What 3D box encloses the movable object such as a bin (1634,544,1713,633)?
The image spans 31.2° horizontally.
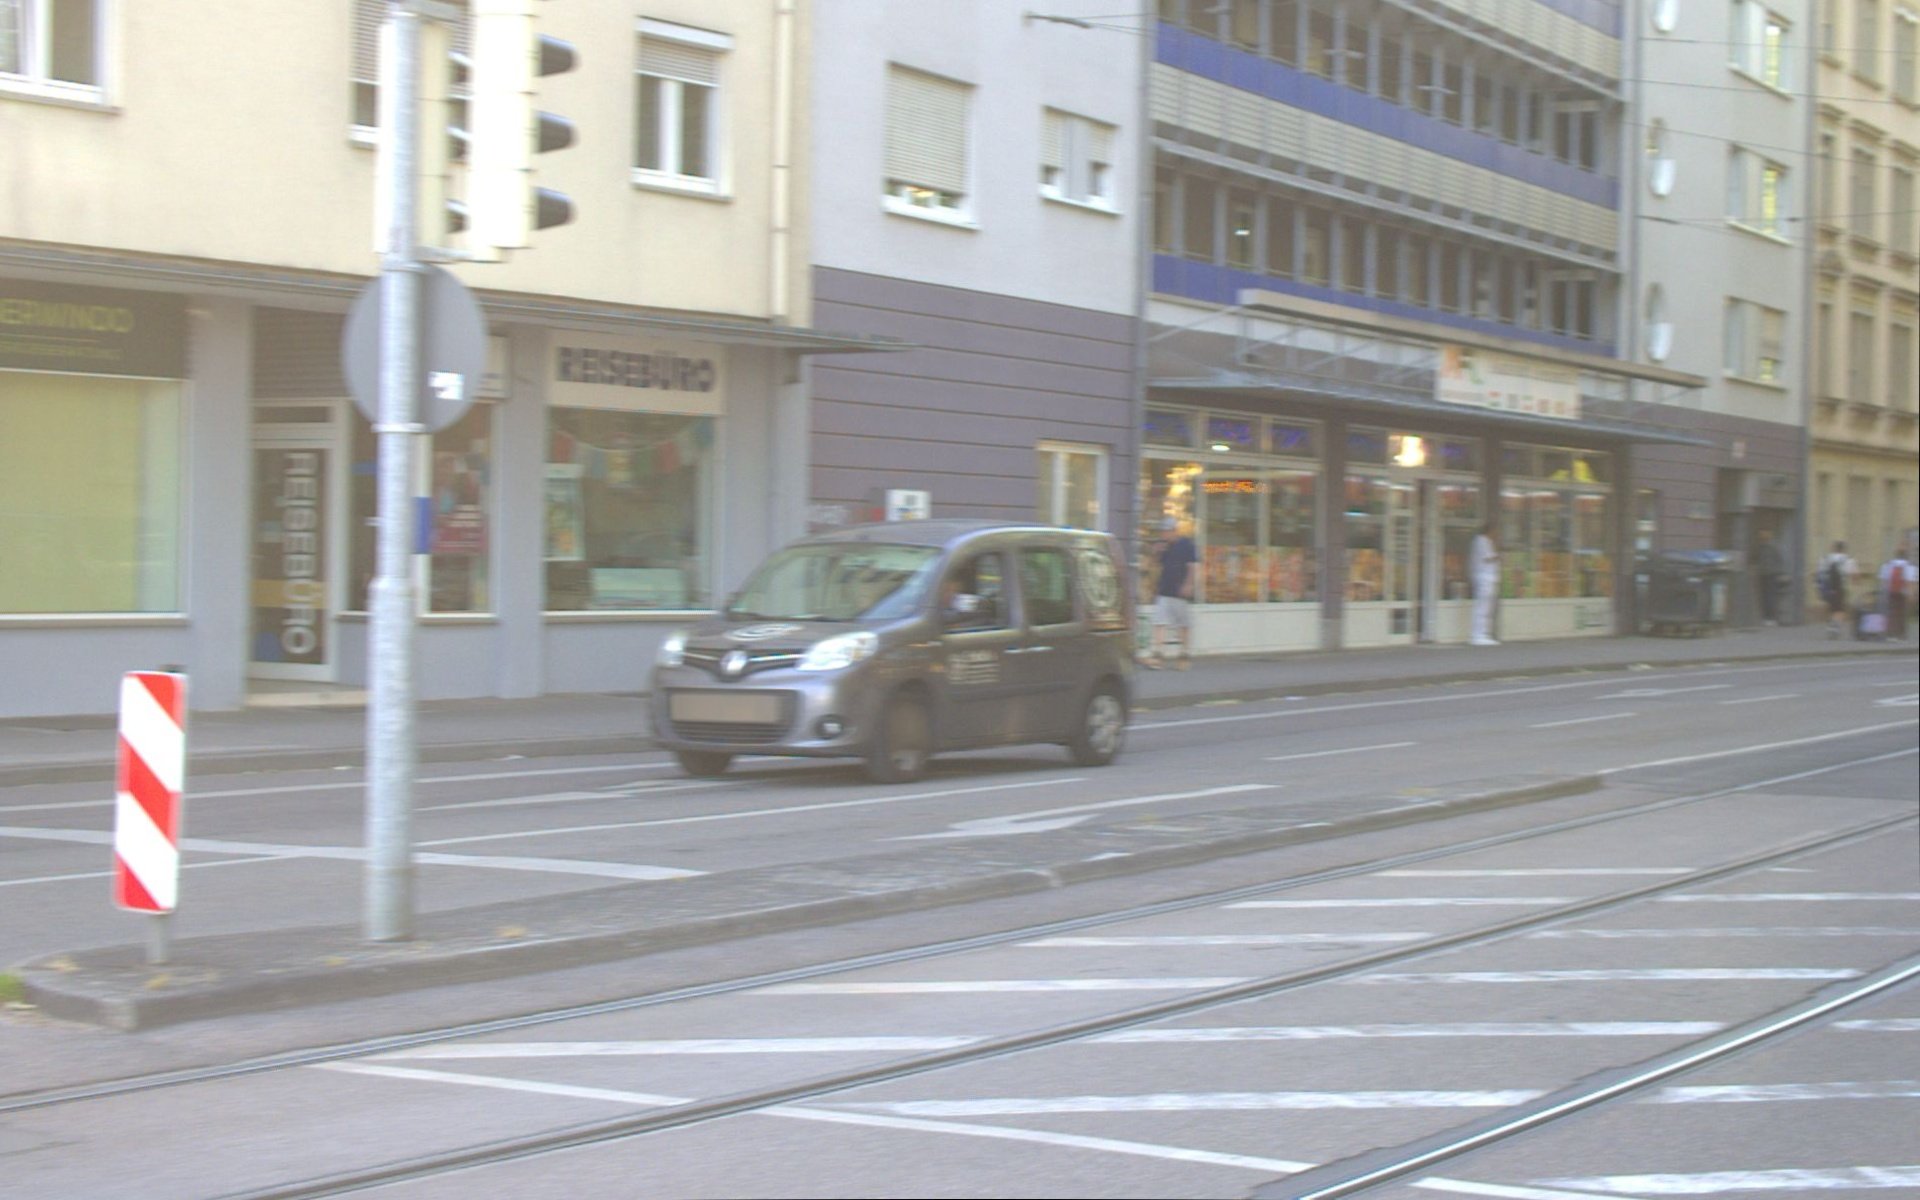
[{"bbox_3d":[11.655,-0.192,56.136,1.014,1.423,1.143,1,1,24],"label":"movable object such as a bin"}]

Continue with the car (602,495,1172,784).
[{"bbox_3d":[-0.397,0.210,23.877,1.912,1.800,4.354,2,1,31],"label":"car"}]

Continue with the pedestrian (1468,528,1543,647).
[{"bbox_3d":[7.821,-0.187,49.314,1.029,1.657,1.227,1,1,9],"label":"pedestrian"}]

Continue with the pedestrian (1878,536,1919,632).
[{"bbox_3d":[16.367,-0.283,59.074,0.893,1.619,1.033,2,1,28],"label":"pedestrian"}]

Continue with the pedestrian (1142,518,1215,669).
[{"bbox_3d":[2.412,-0.078,38.000,0.663,1.642,0.625,1,1,15],"label":"pedestrian"}]

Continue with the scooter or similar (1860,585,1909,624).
[{"bbox_3d":[15.715,0.079,58.446,0.625,0.646,0.765,2,1,28],"label":"scooter or similar"}]

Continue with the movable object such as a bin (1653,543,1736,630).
[{"bbox_3d":[12.279,-0.232,57.429,1.014,1.423,1.255,2,1,29],"label":"movable object such as a bin"}]

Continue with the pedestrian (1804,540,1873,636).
[{"bbox_3d":[15.114,-0.209,59.145,0.893,1.619,1.033,2,1,28],"label":"pedestrian"}]

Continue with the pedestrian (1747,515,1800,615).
[{"bbox_3d":[15.401,-0.669,65.097,0.893,1.858,0.788,1,1,17],"label":"pedestrian"}]
